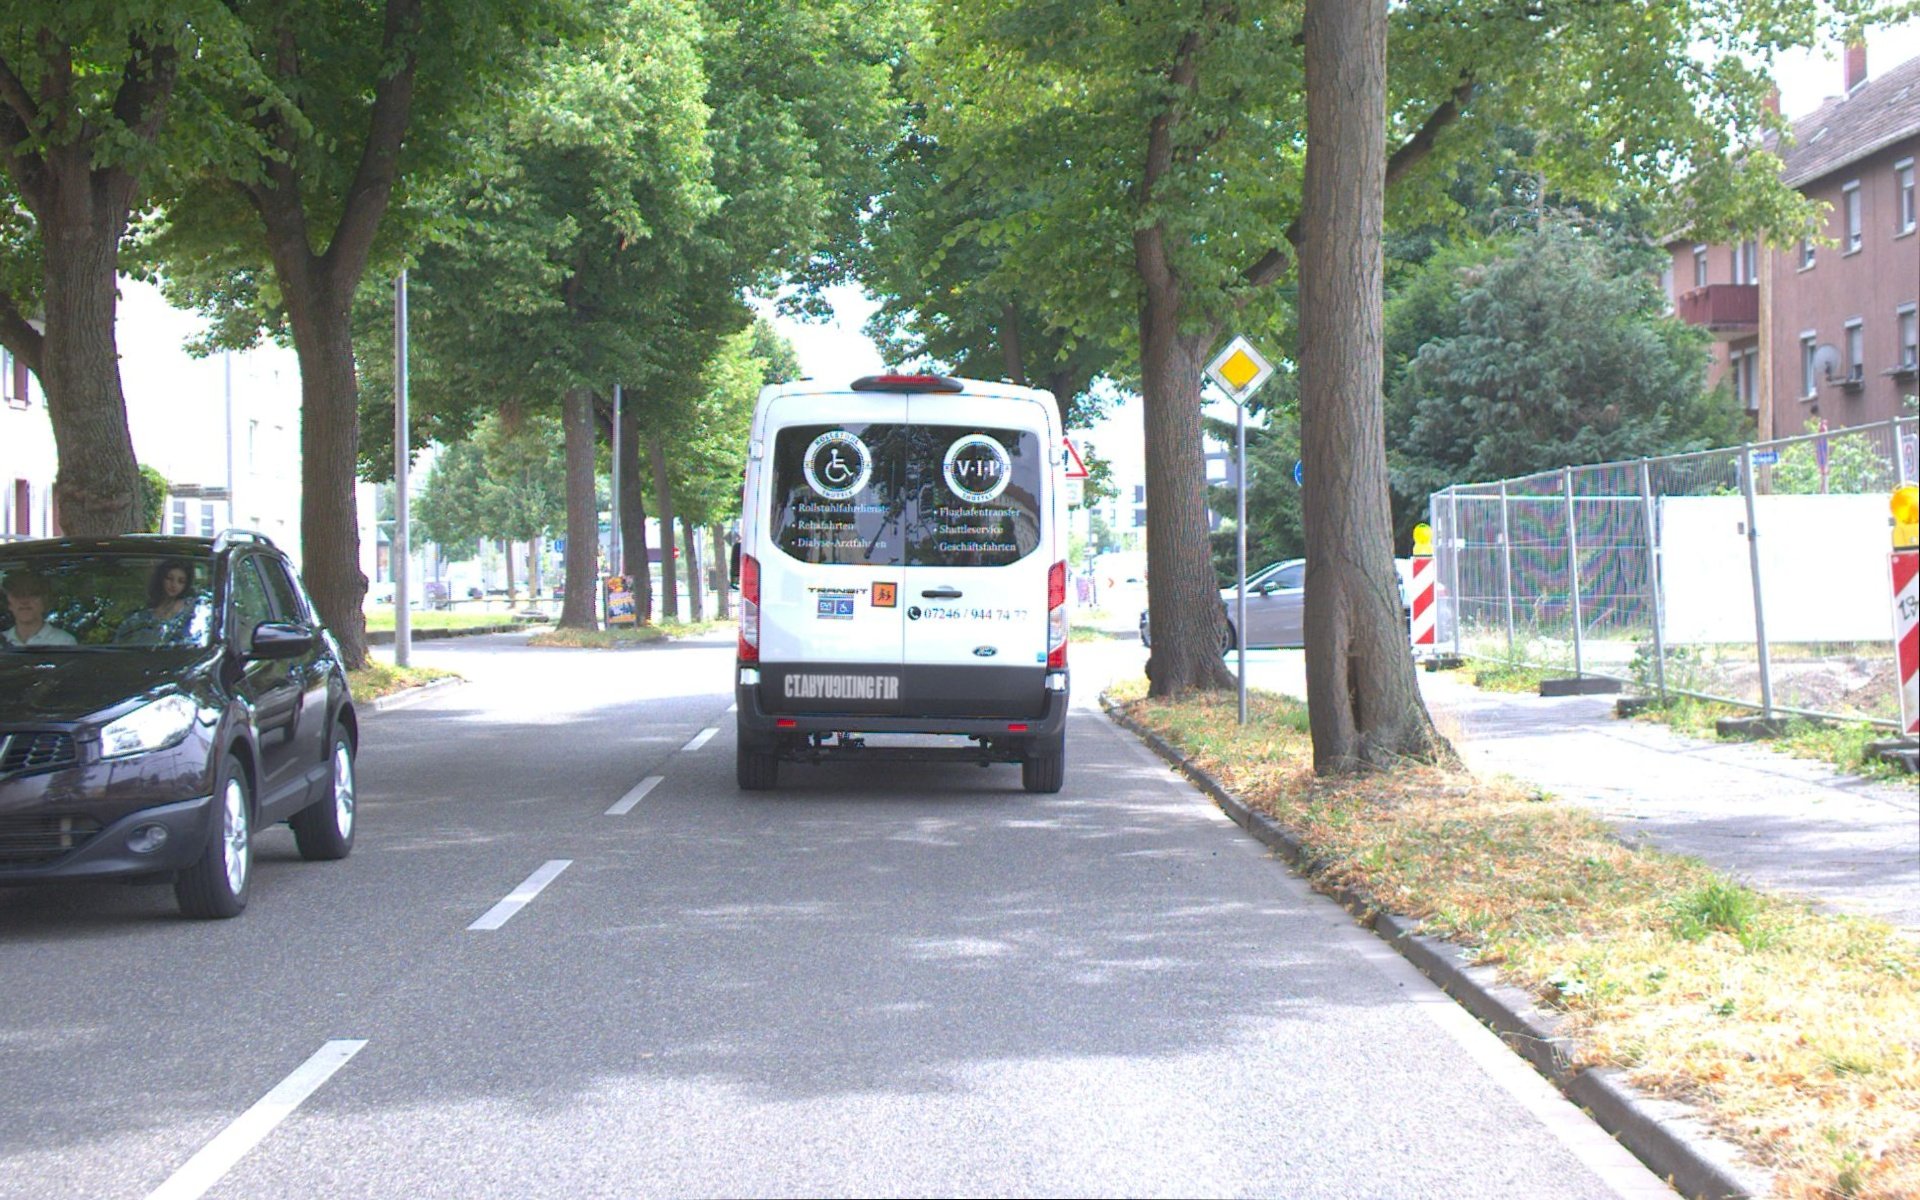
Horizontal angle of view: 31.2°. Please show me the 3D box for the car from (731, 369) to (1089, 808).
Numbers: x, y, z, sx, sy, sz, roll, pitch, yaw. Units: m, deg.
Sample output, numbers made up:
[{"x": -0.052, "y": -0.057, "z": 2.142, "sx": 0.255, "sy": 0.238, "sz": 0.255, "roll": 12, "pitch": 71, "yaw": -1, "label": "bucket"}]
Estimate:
[{"x": -0.417, "y": -0.114, "z": 21.893, "sx": 2.062, "sy": 2.531, "sz": 4.001, "roll": 0, "pitch": 1, "yaw": -4, "label": "car"}]

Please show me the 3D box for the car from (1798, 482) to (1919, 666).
[{"x": 15.454, "y": -0.446, "z": 51.018, "sx": 5.473, "sy": 2.623, "sz": 2.336, "roll": -1, "pitch": 2, "yaw": 1, "label": "car"}]

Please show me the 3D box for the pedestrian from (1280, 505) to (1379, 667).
[{"x": 4.225, "y": -0.165, "z": 39.277, "sx": 0.883, "sy": 1.808, "sz": 0.888, "roll": -2, "pitch": 0, "yaw": 18, "label": "pedestrian"}]

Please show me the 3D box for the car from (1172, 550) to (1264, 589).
[{"x": 13.470, "y": -1.589, "z": 179.527, "sx": 4.396, "sy": 1.810, "sz": 2.014, "roll": -2, "pitch": 0, "yaw": -7, "label": "car"}]

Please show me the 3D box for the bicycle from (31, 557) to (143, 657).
[{"x": -10.253, "y": 0.067, "z": 40.447, "sx": 0.722, "sy": 1.091, "sz": 2.225, "roll": 3, "pitch": 1, "yaw": -1, "label": "bicycle"}]

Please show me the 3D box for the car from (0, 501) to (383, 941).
[{"x": -3.828, "y": 0.458, "z": 15.218, "sx": 1.771, "sy": 1.653, "sz": 4.257, "roll": -2, "pitch": 0, "yaw": 0, "label": "car"}]

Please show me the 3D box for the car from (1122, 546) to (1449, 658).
[{"x": 4.496, "y": 0.041, "z": 48.025, "sx": 4.371, "sy": 1.438, "sz": 2.011, "roll": -1, "pitch": -2, "yaw": 1, "label": "car"}]
